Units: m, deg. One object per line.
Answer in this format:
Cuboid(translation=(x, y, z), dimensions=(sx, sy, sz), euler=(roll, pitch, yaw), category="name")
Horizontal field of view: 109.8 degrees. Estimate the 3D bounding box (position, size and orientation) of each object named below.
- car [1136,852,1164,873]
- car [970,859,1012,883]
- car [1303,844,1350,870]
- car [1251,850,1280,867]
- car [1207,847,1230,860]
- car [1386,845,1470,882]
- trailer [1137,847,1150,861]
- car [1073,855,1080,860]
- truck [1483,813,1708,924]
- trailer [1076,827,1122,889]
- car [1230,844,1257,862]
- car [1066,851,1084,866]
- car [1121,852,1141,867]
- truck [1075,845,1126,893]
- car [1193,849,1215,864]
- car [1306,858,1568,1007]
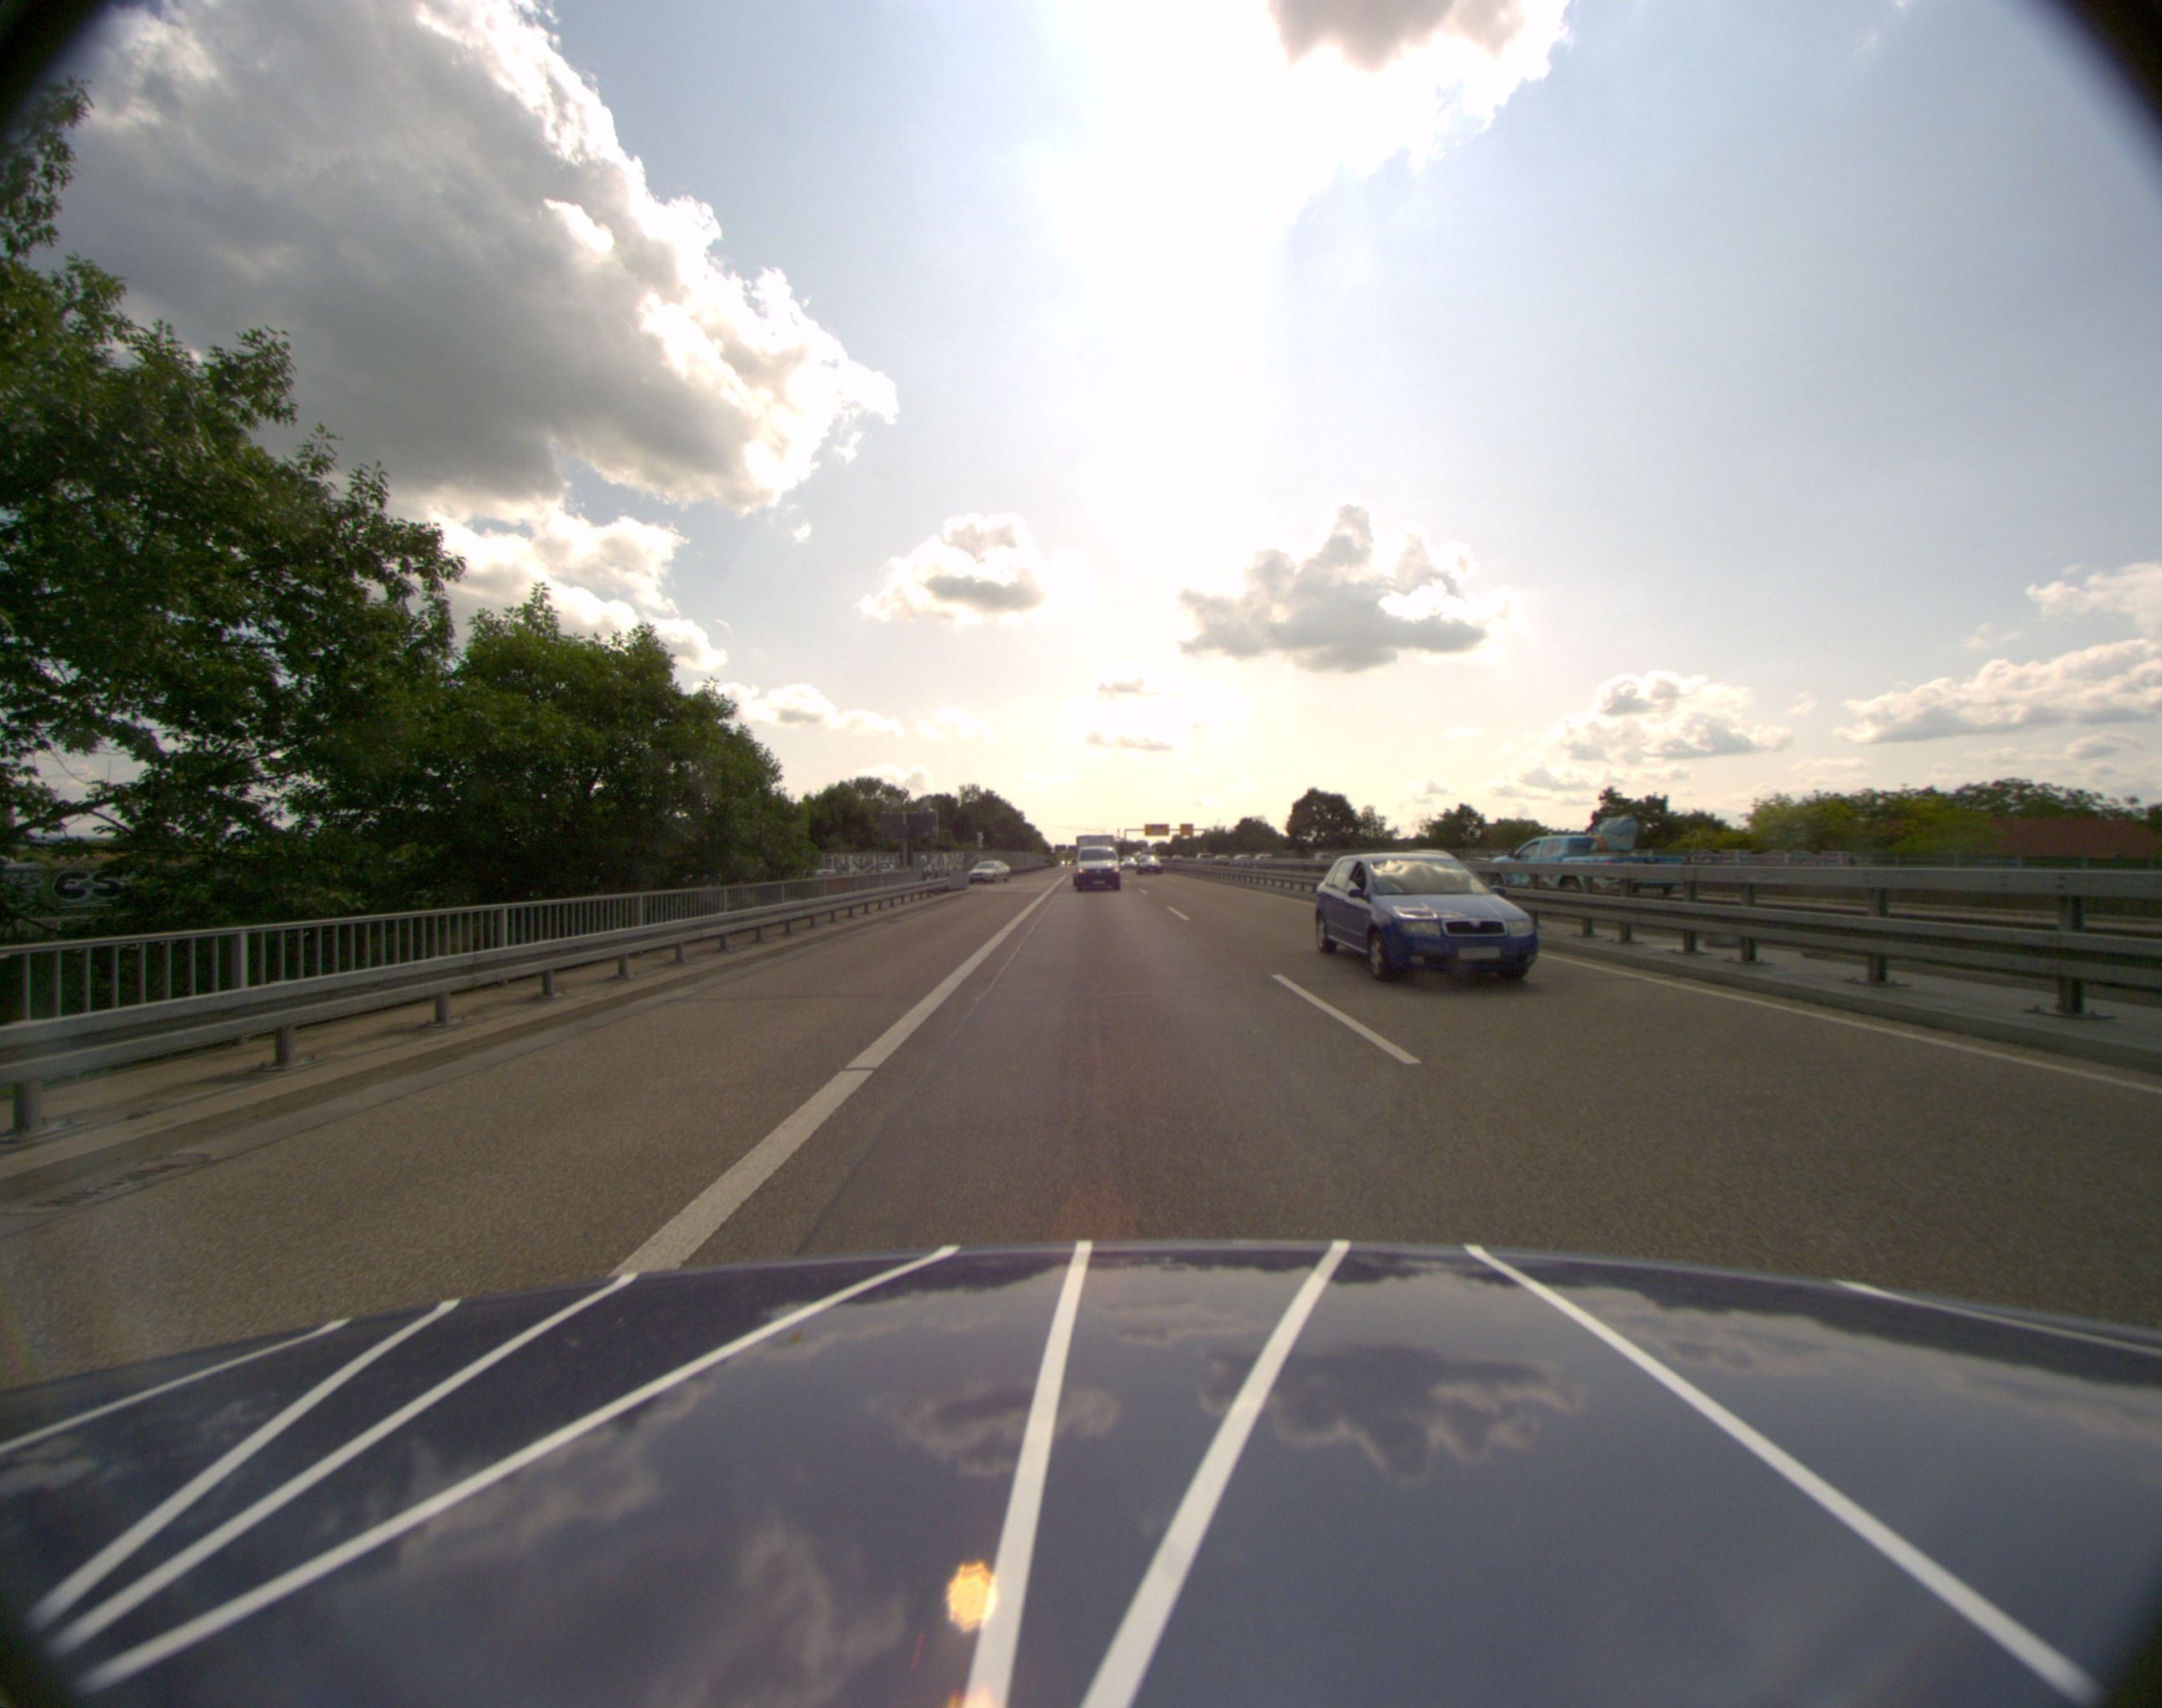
Cuboid(translation=(5.299, 0.635, 58.702), dimensions=(1.779, 1.518, 4.464), euler=(-2, 0, 1), category="car")
Cuboid(translation=(-5.937, 1.109, 50.782), dimensions=(1.767, 1.403, 3.773), euler=(-2, 0, 9), category="car")
Cuboid(translation=(16.414, 0.169, 50.926), dimensions=(1.826, 1.629, 3.999), euler=(-2, 0, 0), category="car")
Cuboid(translation=(16.659, 0.383, 68.827), dimensions=(1.602, 1.466, 3.630), euler=(1, 0, -2), category="car")
Cuboid(translation=(15.960, 0.004, 88.329), dimensions=(1.789, 1.381, 4.047), euler=(-2, -1, -1), category="car")
Cuboid(translation=(16.742, 0.415, 36.937), dimensions=(1.896, 1.630, 4.511), euler=(-2, 0, -2), category="car")
Cuboid(translation=(17.017, -0.143, 206.259), dimensions=(2.691, 3.648, 11.028), euler=(-2, 0, 1), category="trailer")
Cuboid(translation=(-1.380, 1.119, 230.814), dimensions=(1.895, 1.518, 4.464), euler=(-2, 0, 1), category="car")
Cuboid(translation=(11.778, 0.282, 17.952), dimensions=(1.877, 2.174, 5.188), euler=(-2, 0, 2), category="truck")
Cuboid(translation=(0.801, 0.165, 37.547), dimensions=(1.999, 2.723, 5.966), euler=(-2, 0, 0), category="trailer")
Cuboid(translation=(16.604, -0.107, 77.738), dimensions=(1.586, 1.701, 4.410), euler=(-2, -1, -1), category="car")
Cuboid(translation=(-0.676, 0.528, 88.005), dimensions=(1.802, 1.587, 3.985), euler=(-2, 0, 1), category="car")
Cuboid(translation=(5.394, 0.605, 83.069), dimensions=(1.895, 1.518, 4.464), euler=(-2, 0, 1), category="car")
Cuboid(translation=(0.801, 0.612, 32.514), dimensions=(2.008, 1.905, 4.000), euler=(-1, 0, 0), category="truck")
Cuboid(translation=(17.078, 0.397, 105.624), dimensions=(1.965, 1.914, 5.191), euler=(-3, 0, -2), category="car")
Cuboid(translation=(4.157, 0.808, 9.571), dimensions=(1.625, 1.403, 3.771), euler=(-2, 0, 2), category="car")
